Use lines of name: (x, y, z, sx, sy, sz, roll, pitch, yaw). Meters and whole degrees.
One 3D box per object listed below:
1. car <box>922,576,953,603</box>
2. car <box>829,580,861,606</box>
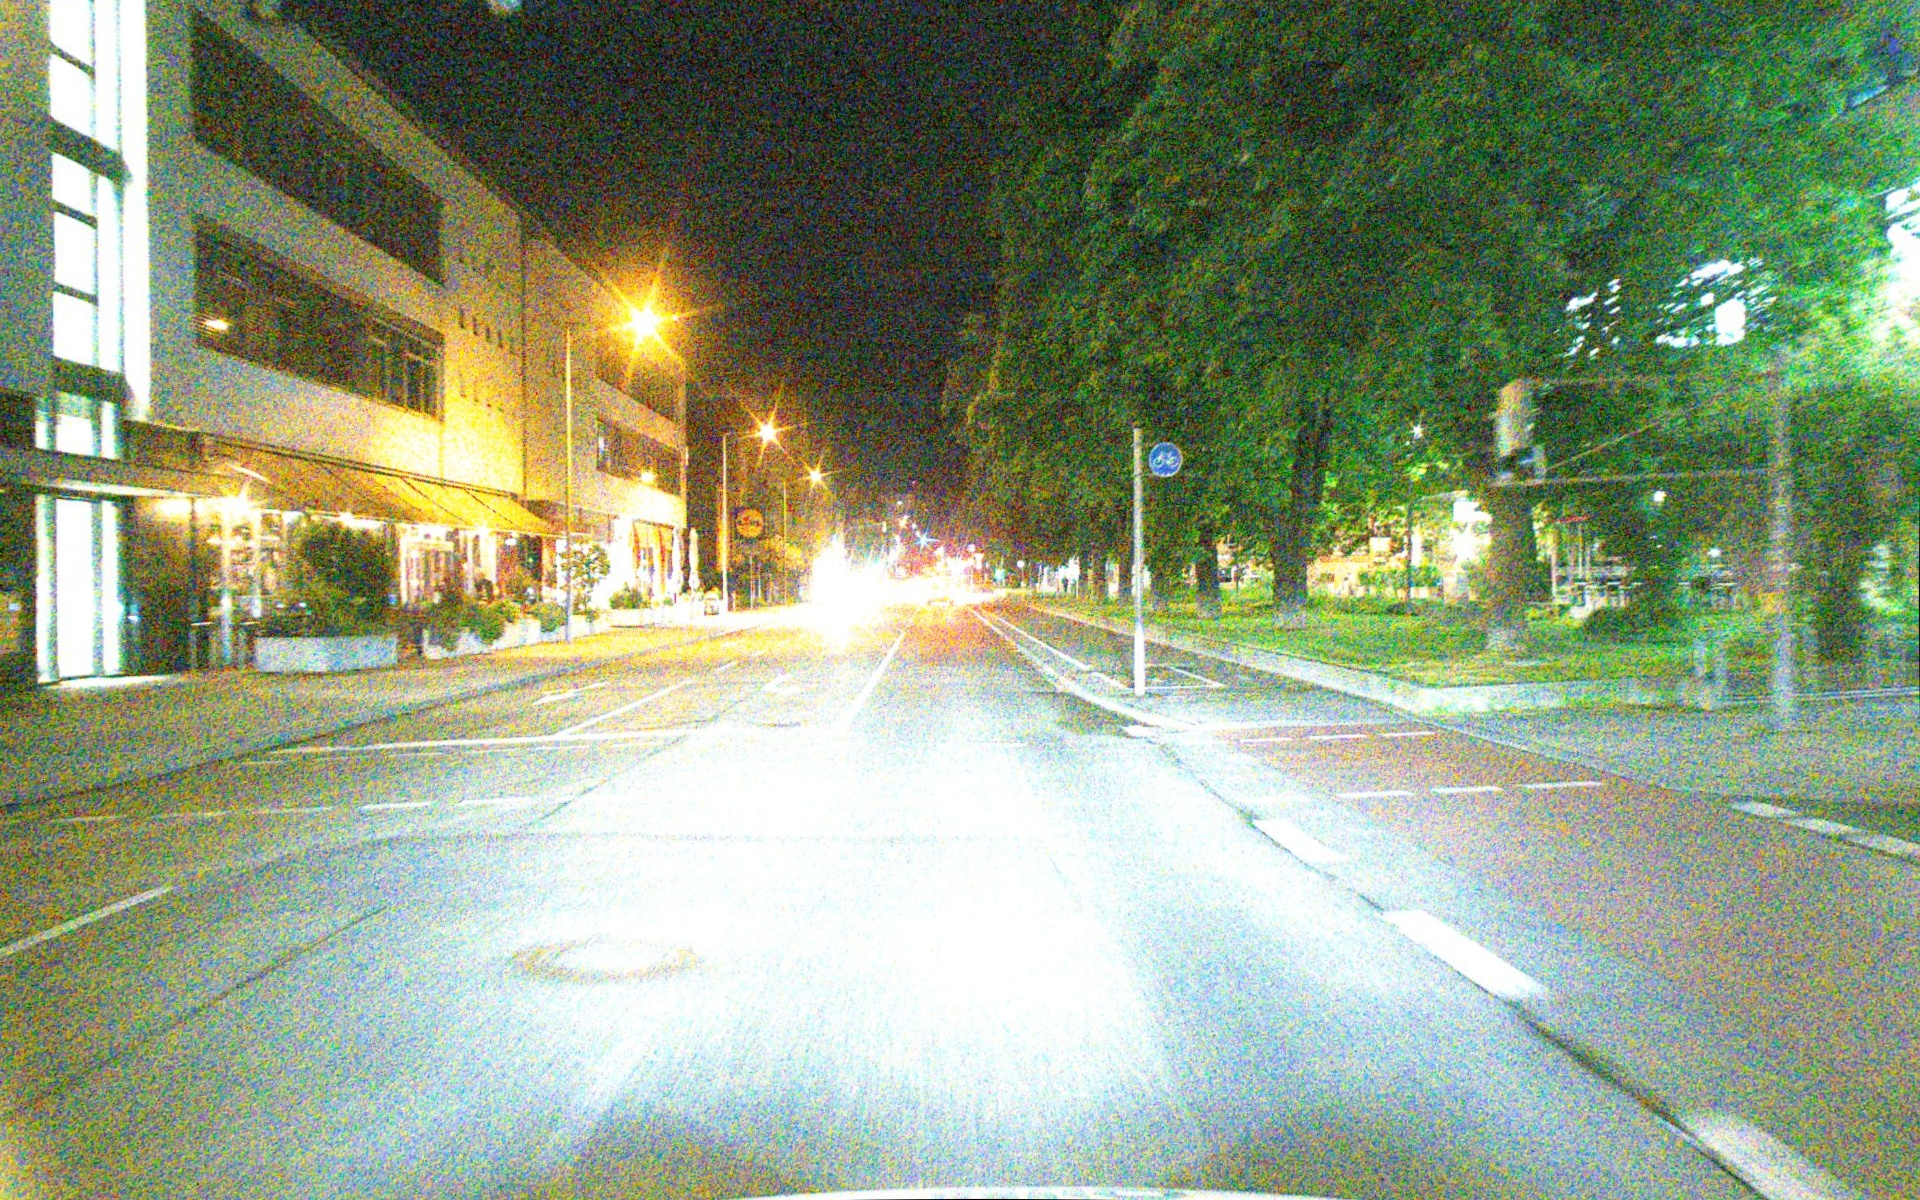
car: (-1.480, -0.677, 108.279, 1.953, 1.672, 3.999, -2, 1, -1)
car: (-7.672, -0.470, 110.800, 1.953, 1.672, 3.999, -2, 1, -2)
